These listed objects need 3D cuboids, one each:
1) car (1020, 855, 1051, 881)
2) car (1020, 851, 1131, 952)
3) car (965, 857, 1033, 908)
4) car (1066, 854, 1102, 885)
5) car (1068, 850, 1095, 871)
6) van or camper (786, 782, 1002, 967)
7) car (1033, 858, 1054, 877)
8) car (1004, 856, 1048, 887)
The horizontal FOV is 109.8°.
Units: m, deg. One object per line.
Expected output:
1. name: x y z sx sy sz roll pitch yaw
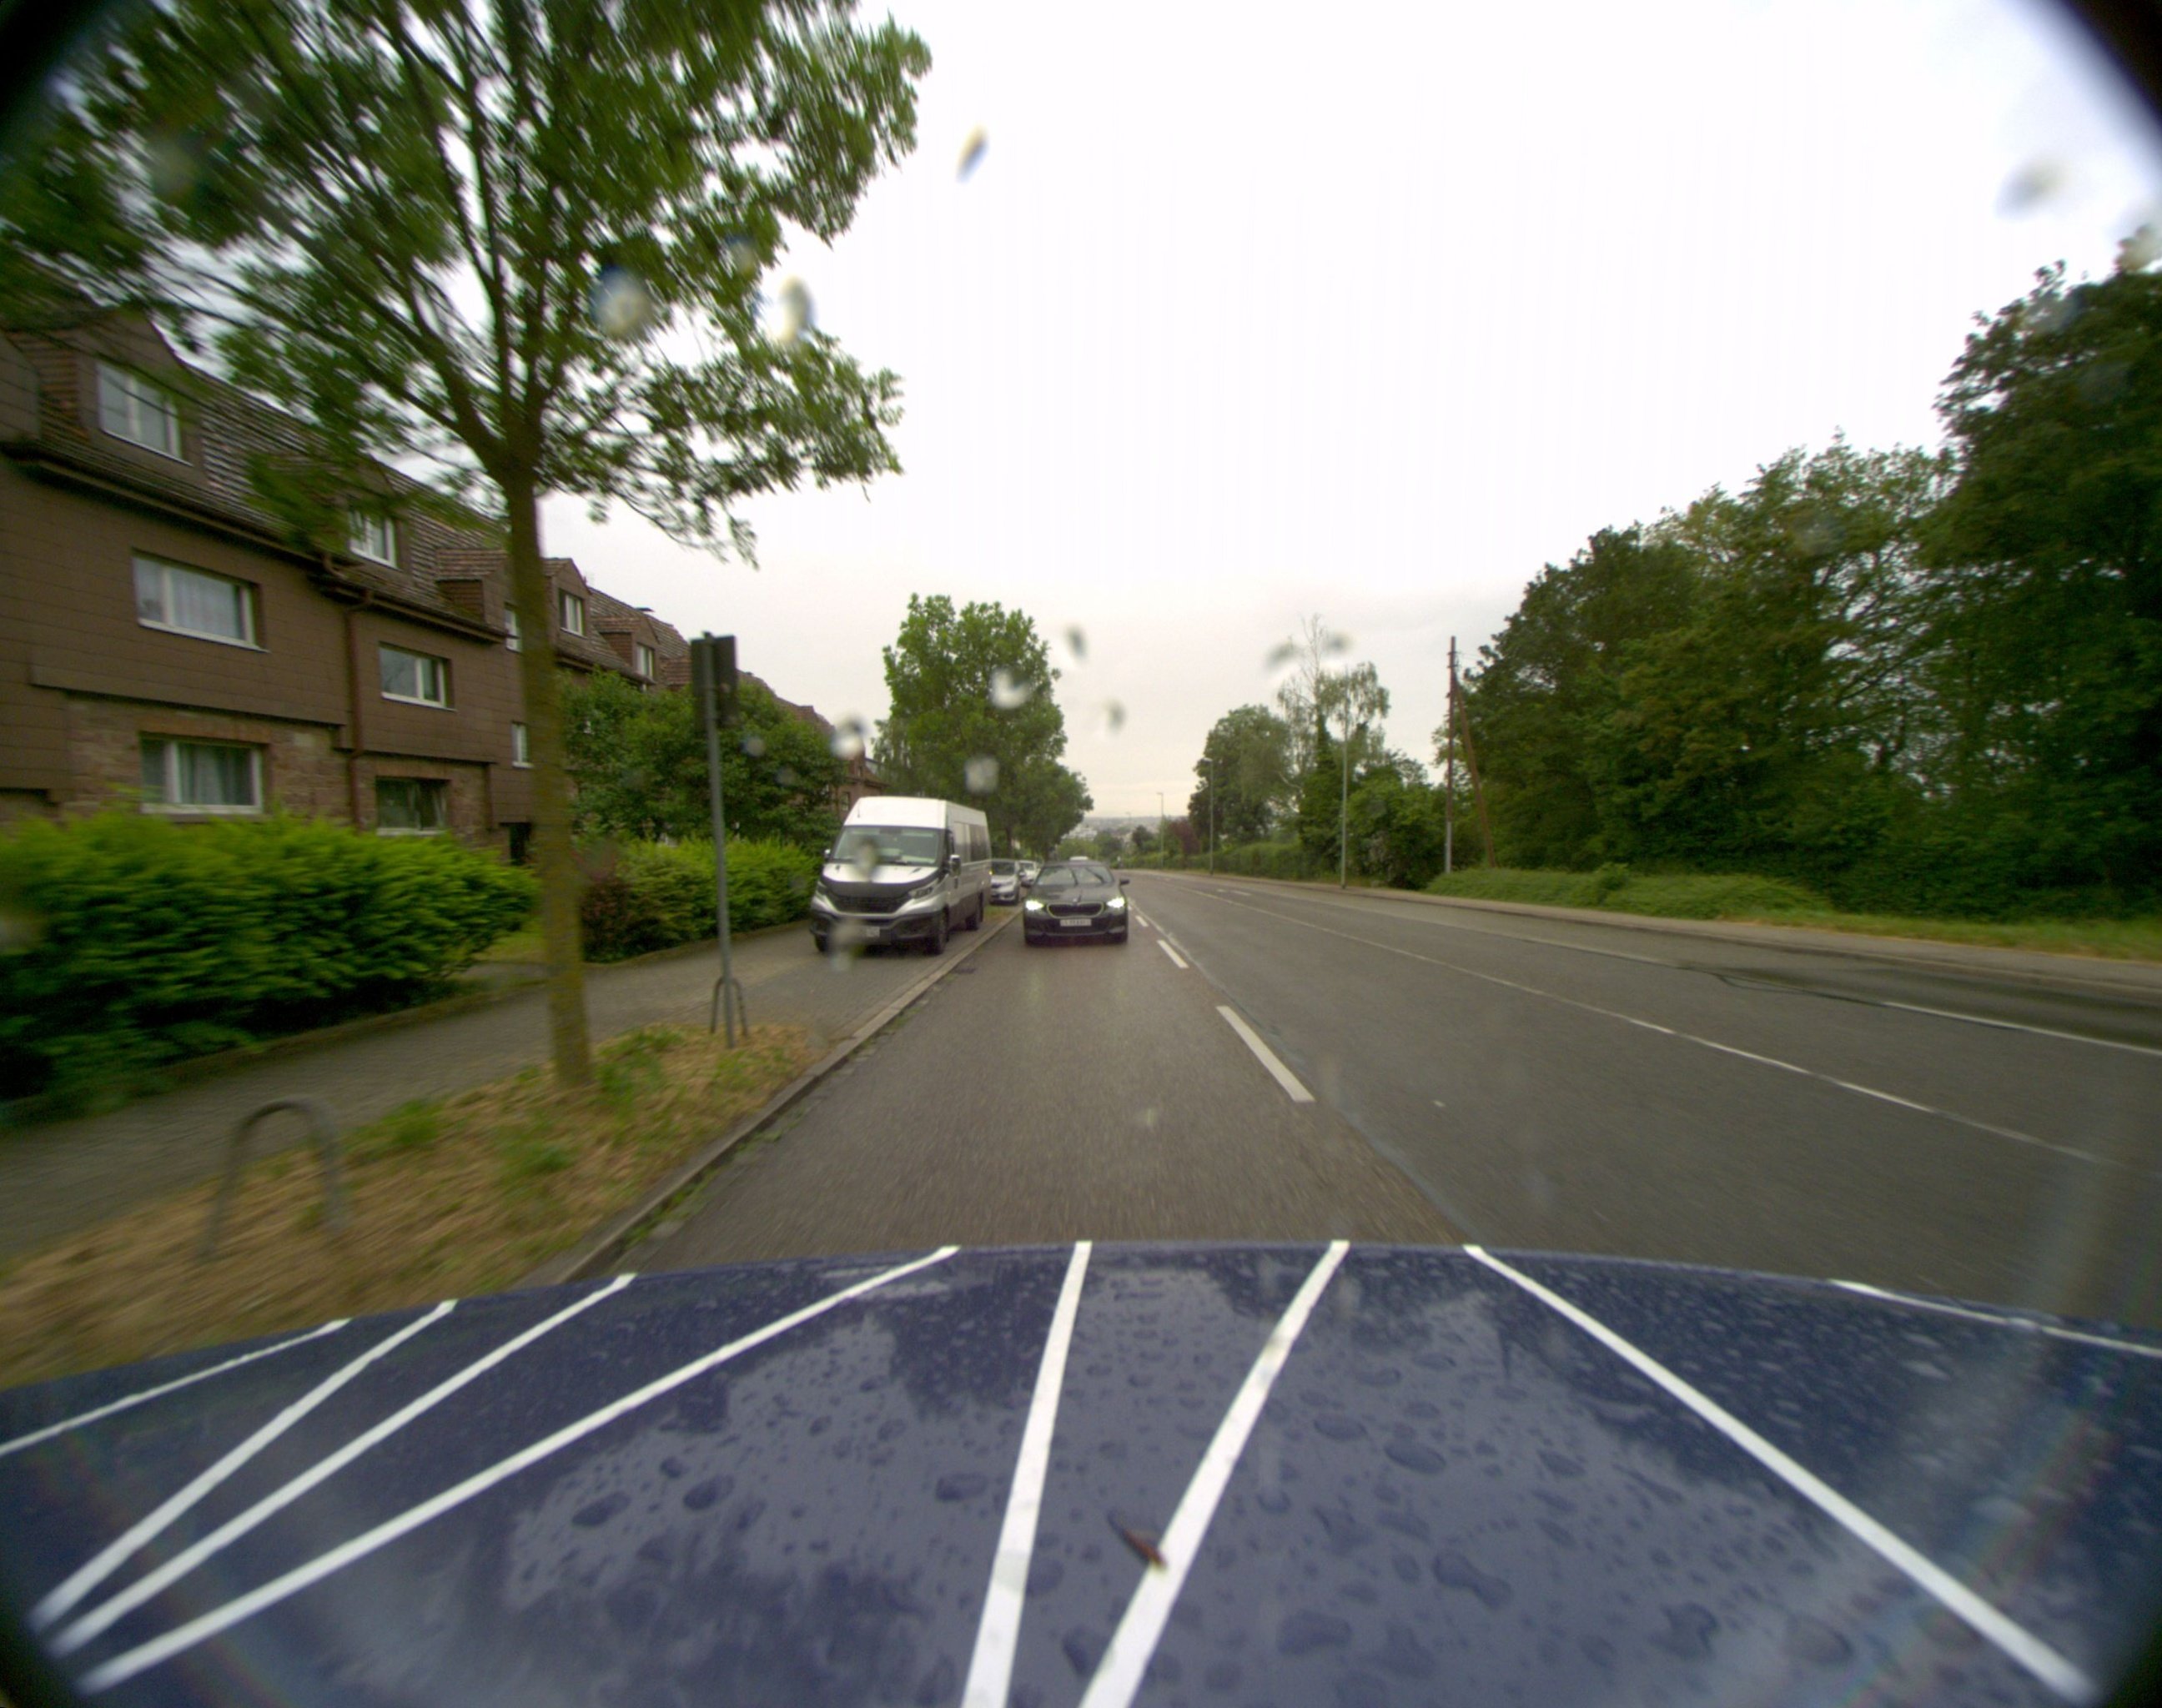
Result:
1. car: -3.109 0.951 52.247 1.829 1.668 4.584 1 0 0
2. car: -0.100 0.822 15.124 1.829 1.668 4.296 -2 0 0
3. car: -2.729 0.903 25.999 1.672 1.519 3.832 2 0 3
4. car: 0.133 0.867 44.288 1.999 1.674 4.173 0 0 -1
5. car: -0.011 0.538 64.679 1.999 1.674 4.172 0 0 -5
6. van or camper: -3.097 0.315 14.677 2.203 2.635 7.302 1 0 1
7. car: -3.200 1.145 65.153 1.726 1.503 3.785 1 -1 -2
8. car: -2.937 0.919 41.553 1.828 1.593 4.475 1 0 3
